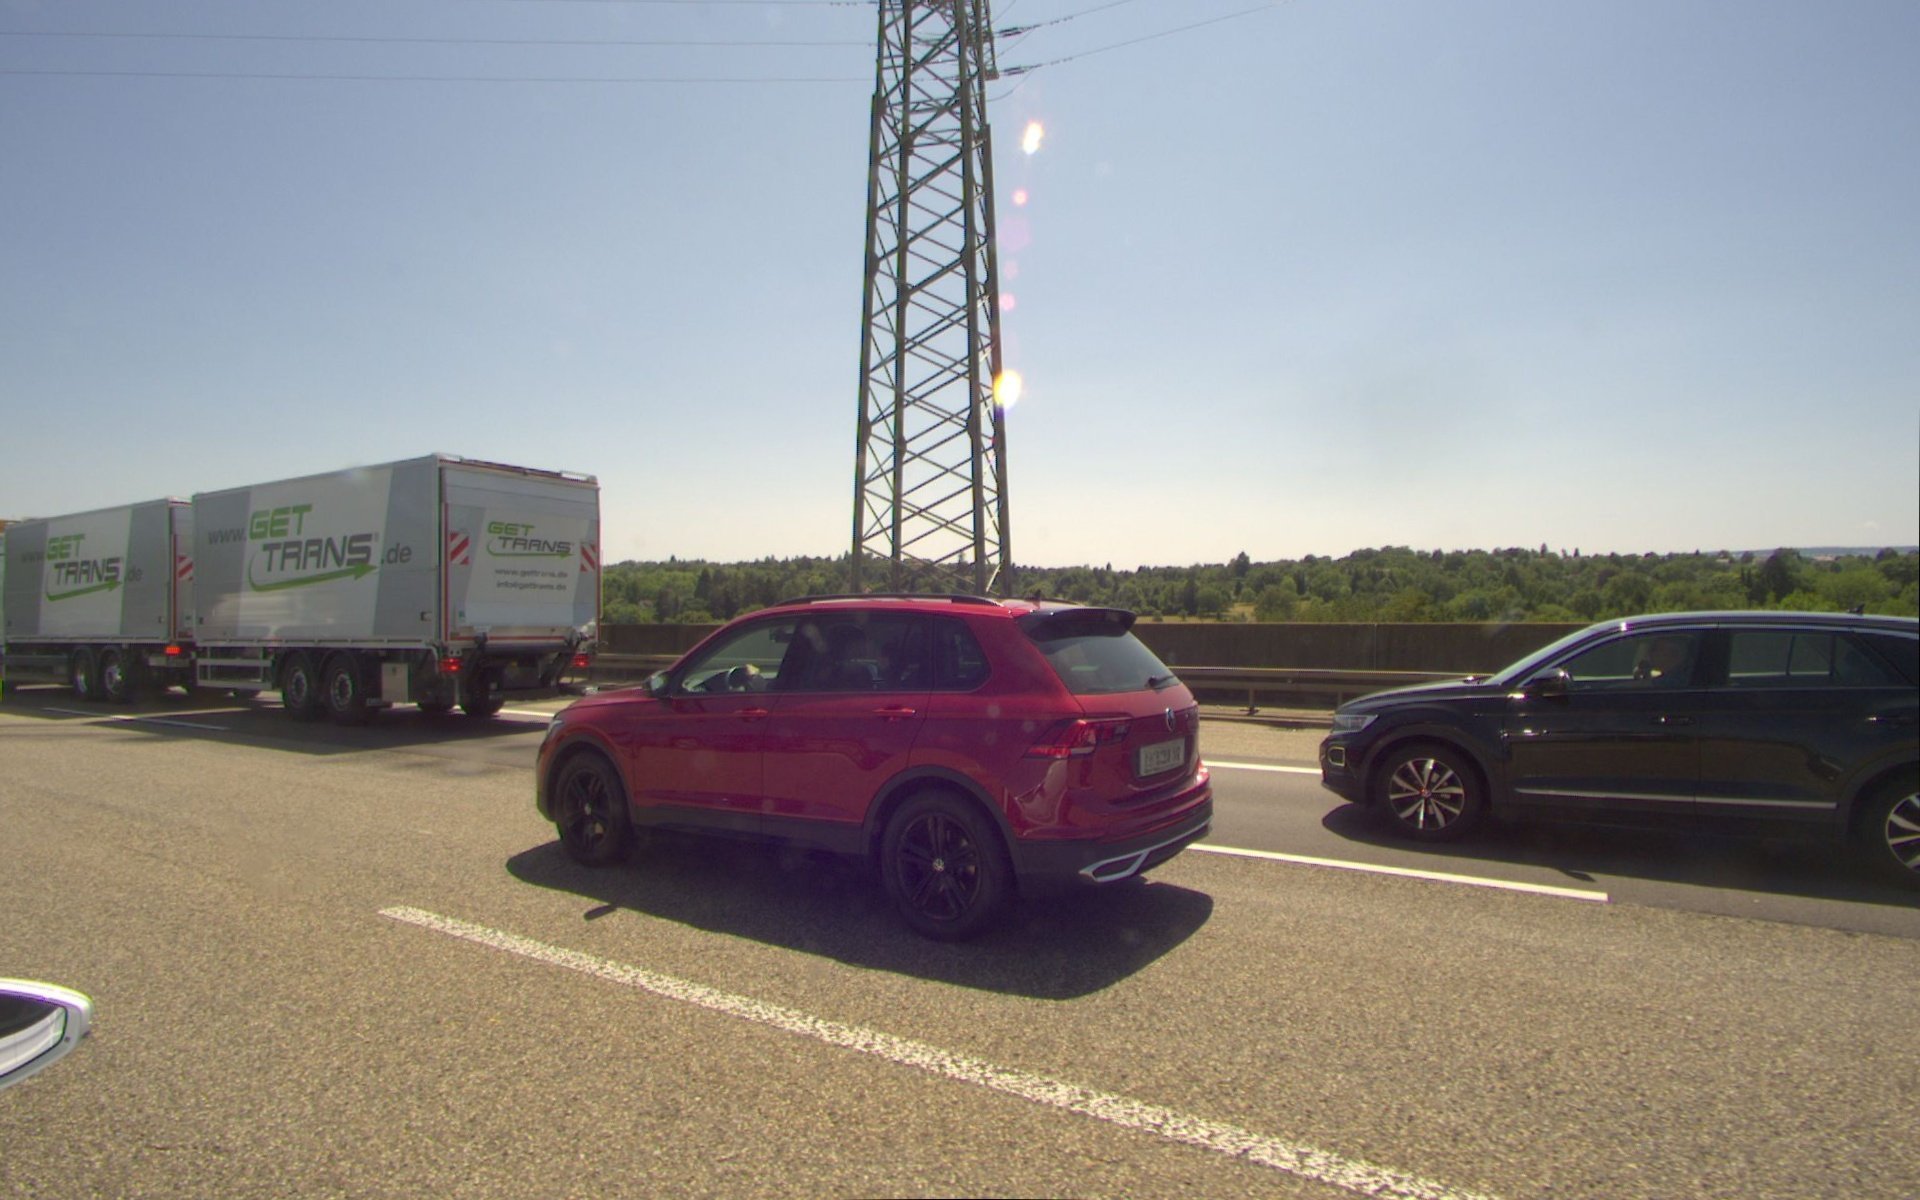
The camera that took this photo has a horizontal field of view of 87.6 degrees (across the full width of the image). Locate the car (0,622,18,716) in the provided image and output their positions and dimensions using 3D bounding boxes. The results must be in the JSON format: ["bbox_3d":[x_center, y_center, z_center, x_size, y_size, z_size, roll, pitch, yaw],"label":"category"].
[{"bbox_3d":[-17.186,1.113,16.227,3.874,1.489,1.813,-1,-2,31],"label":"car"}]

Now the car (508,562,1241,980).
[{"bbox_3d":[-0.675,0.773,5.975,4.225,1.700,1.705,-1,-2,33],"label":"car"}]

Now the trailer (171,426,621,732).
[{"bbox_3d":[-9.379,-0.145,16.290,8.097,3.941,2.894,-1,-2,32],"label":"trailer"}]

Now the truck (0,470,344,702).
[{"bbox_3d":[-17.259,-0.084,21.214,10.458,3.984,2.847,-1,-2,32],"label":"truck"}]

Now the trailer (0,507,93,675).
[{"bbox_3d":[-27.172,-0.119,27.361,8.850,4.140,2.679,-1,-2,31],"label":"trailer"}]

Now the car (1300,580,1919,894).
[{"bbox_3d":[4.562,0.782,6.707,4.059,1.676,1.706,-1,-2,32],"label":"car"}]
